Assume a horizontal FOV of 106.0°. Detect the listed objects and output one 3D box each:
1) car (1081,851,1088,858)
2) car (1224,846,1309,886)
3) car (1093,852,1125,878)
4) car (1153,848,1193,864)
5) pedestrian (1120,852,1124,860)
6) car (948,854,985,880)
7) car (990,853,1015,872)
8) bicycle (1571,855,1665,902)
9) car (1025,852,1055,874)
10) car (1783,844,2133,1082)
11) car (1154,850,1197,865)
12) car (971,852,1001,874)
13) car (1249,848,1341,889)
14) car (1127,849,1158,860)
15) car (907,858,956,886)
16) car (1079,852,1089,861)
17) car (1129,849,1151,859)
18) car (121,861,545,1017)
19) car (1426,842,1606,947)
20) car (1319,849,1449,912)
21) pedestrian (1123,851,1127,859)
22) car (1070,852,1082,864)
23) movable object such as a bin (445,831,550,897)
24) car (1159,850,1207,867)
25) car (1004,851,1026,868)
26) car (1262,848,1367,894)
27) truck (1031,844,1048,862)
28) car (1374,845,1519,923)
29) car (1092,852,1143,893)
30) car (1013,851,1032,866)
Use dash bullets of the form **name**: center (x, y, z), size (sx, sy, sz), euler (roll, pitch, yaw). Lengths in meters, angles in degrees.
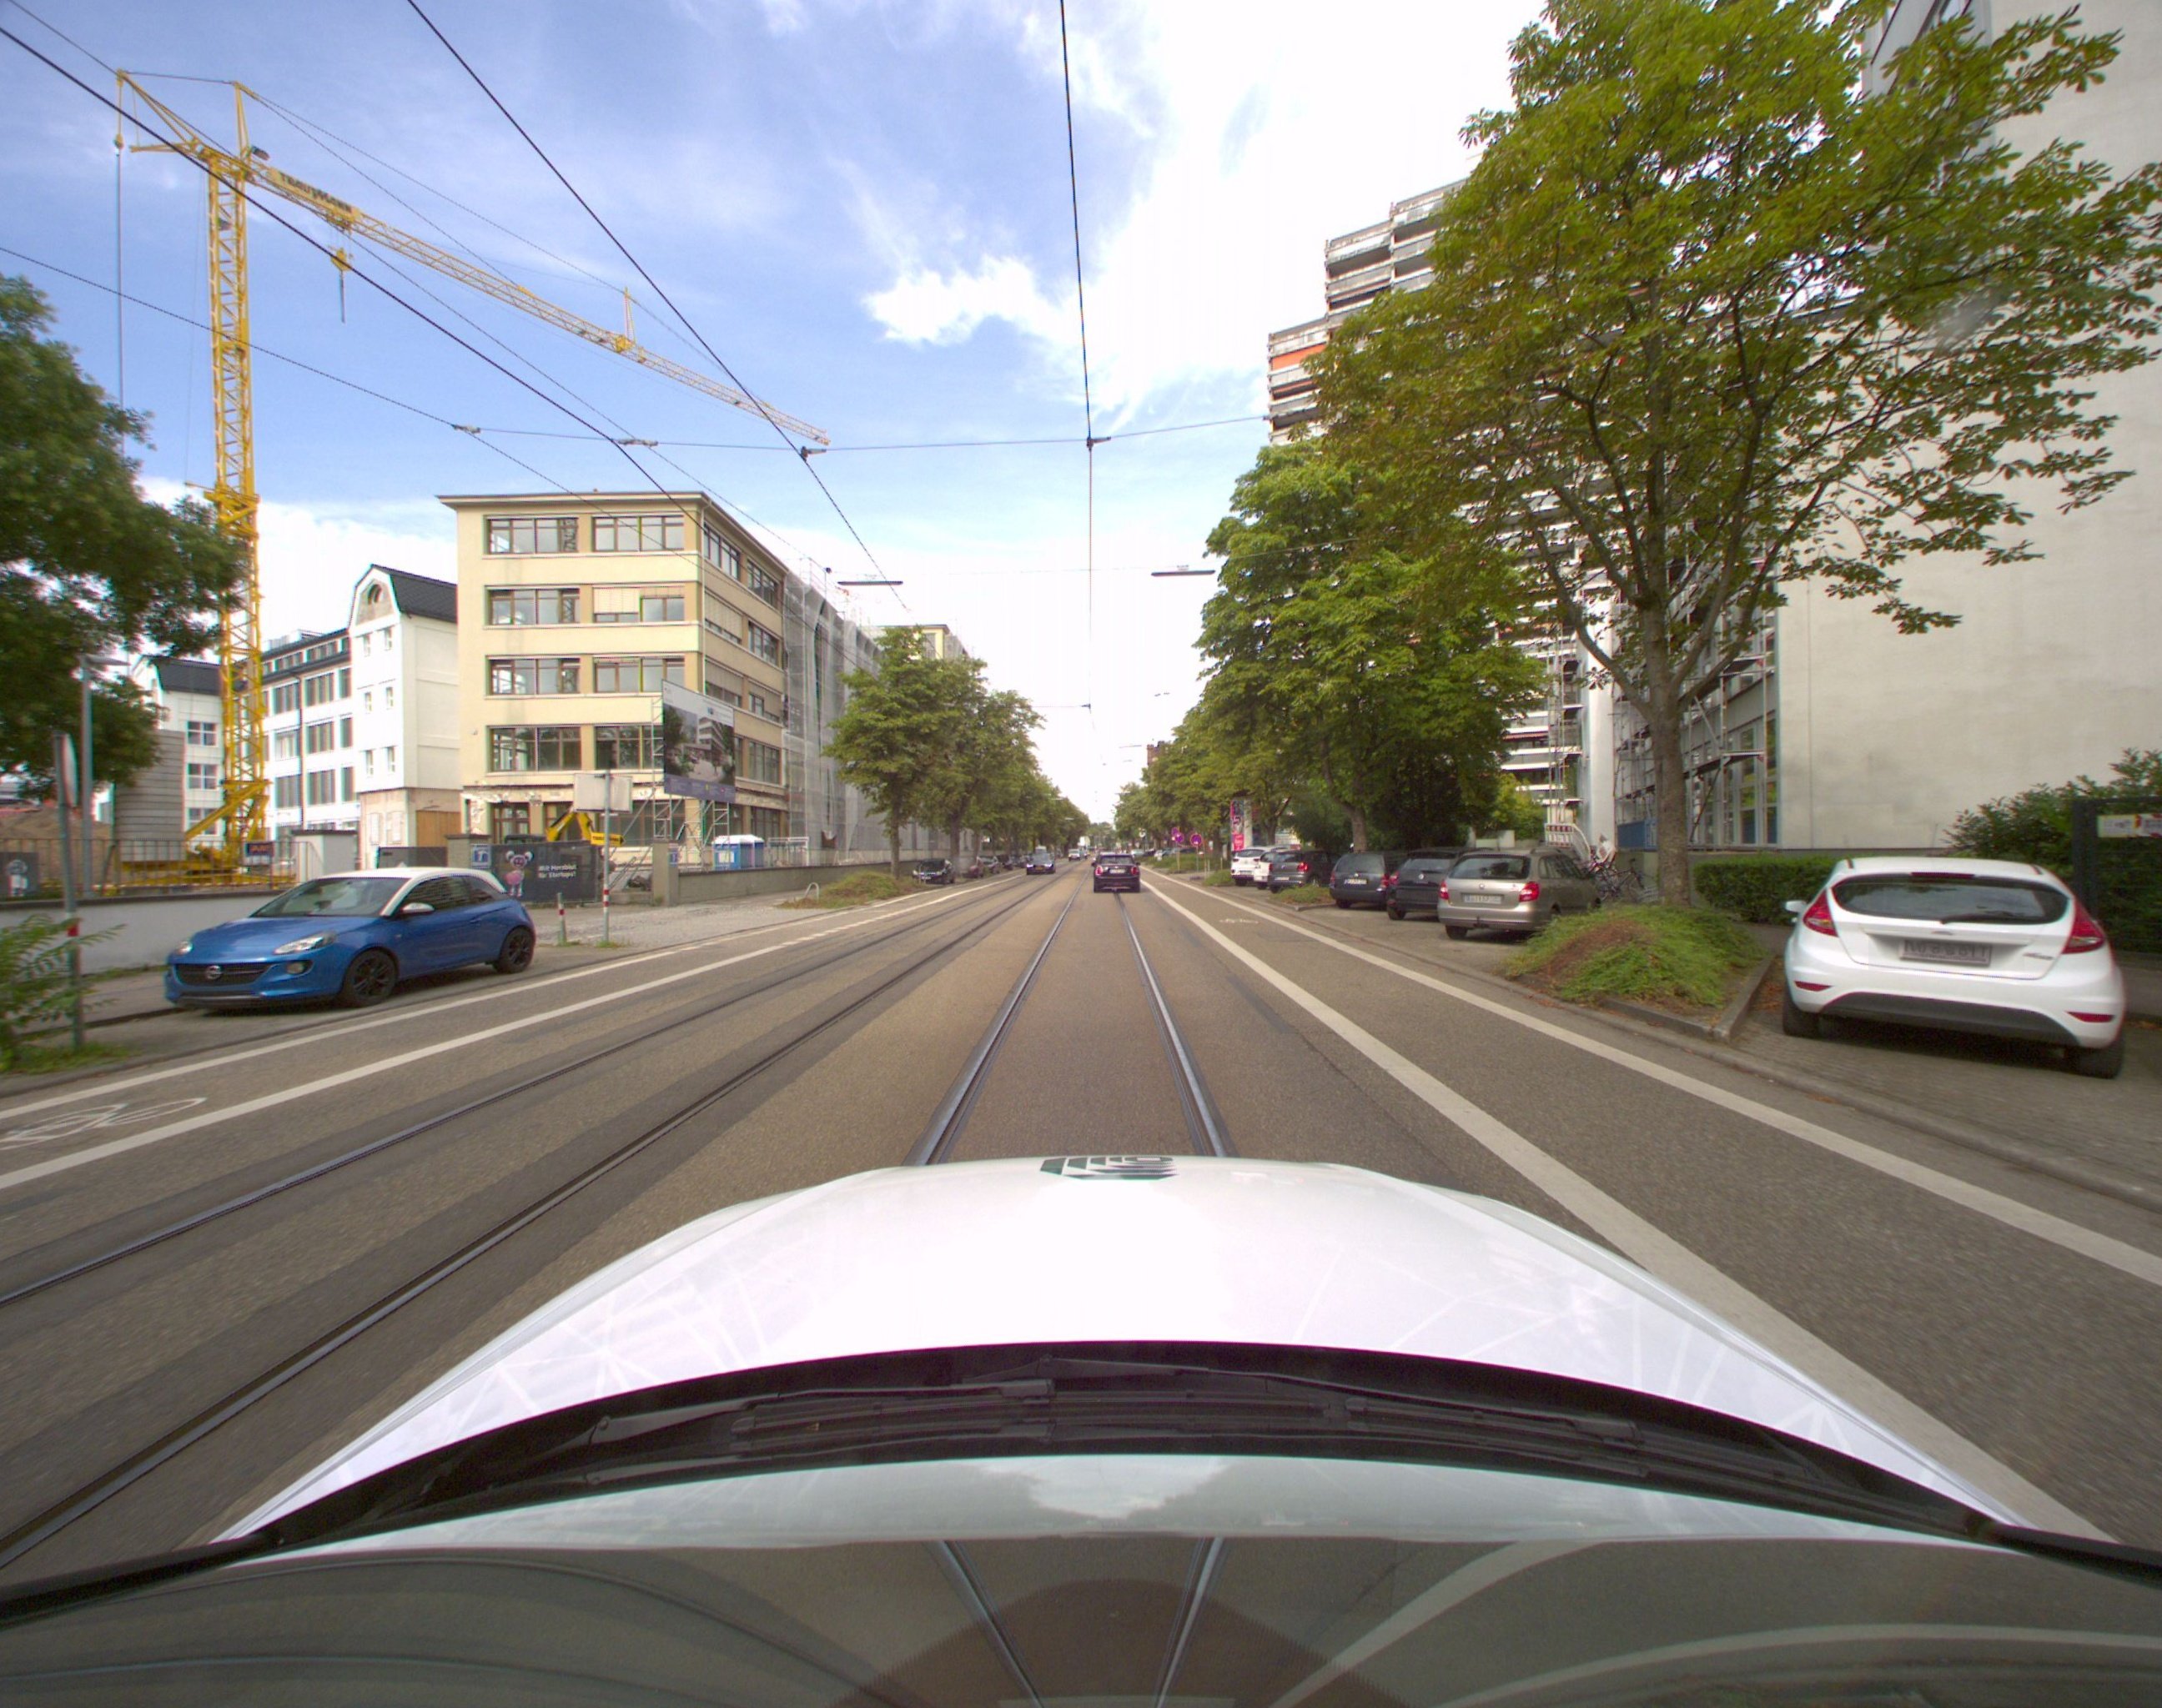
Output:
- **car**: center (0.955, 0.124, 216.405), size (1.796, 1.622, 4.484), euler (-2, 0, 1)
- **car**: center (7.661, 0.454, 33.496), size (3.464, 1.573, 1.542), euler (-1, 0, -38)
- **car**: center (1.625, 0.614, 49.039), size (1.788, 1.470, 3.999), euler (1, 0, 0)
- **car**: center (9.516, 0.206, 84.478), size (3.977, 1.627, 1.883), euler (-1, 0, -2)
- **pedestrian**: center (8.925, 0.383, 178.047), size (0.721, 1.646, 0.769), euler (0, 0, 11)
- **car**: center (-7.529, 0.831, 54.022), size (1.796, 1.583, 4.031), euler (-2, 0, 0)
- **car**: center (-7.075, 0.725, 73.525), size (1.796, 1.583, 4.031), euler (-2, 0, 0)
- **bicycle**: center (13.600, 0.637, 20.691), size (1.948, 1.128, 0.542), euler (-2, -1, 31)
- **car**: center (-2.823, 0.588, 57.546), size (1.828, 1.448, 4.553), euler (-1, 0, 0)
- **car**: center (7.205, 0.668, 6.957), size (1.620, 1.460, 3.851), euler (0, 0, 44)
- **car**: center (9.165, 0.344, 79.076), size (3.977, 1.425, 1.883), euler (-1, 0, -2)
- **car**: center (-7.283, 0.695, 62.893), size (1.796, 1.583, 4.031), euler (-2, 0, 0)
- **car**: center (8.030, 0.507, 30.461), size (3.464, 1.442, 1.542), euler (-1, 0, -38)
- **car**: center (8.315, 0.084, 110.126), size (3.977, 1.508, 1.883), euler (-1, 0, -2)
- **car**: center (-7.931, 0.931, 43.631), size (1.796, 1.374, 4.031), euler (-2, 0, 0)
- **car**: center (0.513, 0.410, 148.744), size (1.796, 1.622, 4.484), euler (-2, 0, 1)
- **car**: center (11.374, -0.064, 156.293), size (3.976, 1.910, 1.999), euler (0, 0, -2)
- **car**: center (-8.576, 0.849, 9.860), size (1.687, 1.487, 3.677), euler (0, 0, 0)
- **car**: center (7.431, 0.591, 13.758), size (3.761, 1.522, 1.620), euler (0, 0, -44)
- **car**: center (7.712, 0.602, 20.584), size (3.761, 1.458, 1.620), euler (0, 0, -44)
- **pedestrian**: center (9.898, 0.203, 183.319), size (0.721, 1.646, 0.769), euler (0, 0, 11)
- **car**: center (-0.788, 0.610, 129.353), size (1.796, 1.823, 4.484), euler (-2, 0, 1)
- **movable object such as a bin**: center (-19.154, 0.309, 26.829), size (1.978, 2.067, 1.962), euler (-1, 0, 3)
- **car**: center (9.005, 0.391, 72.174), size (3.977, 1.425, 1.883), euler (-1, 0, -2)
- **car**: center (-6.781, 0.540, 83.685), size (1.796, 1.583, 4.031), euler (-2, 0, 0)
- **car**: center (7.855, 0.530, 27.315), size (3.552, 1.442, 1.605), euler (-1, 0, -38)
- **truck**: center (-5.952, -0.097, 117.327), size (2.064, 2.470, 4.899), euler (-2, 0, 0)
- **car**: center (8.040, 0.591, 17.776), size (3.761, 1.522, 1.620), euler (0, 0, -44)
- **car**: center (1.316, 0.650, 30.810), size (1.787, 1.423, 4.000), euler (0, 0, 1)
- **car**: center (-6.615, 0.486, 92.665), size (1.796, 1.583, 4.031), euler (-2, 0, 0)
